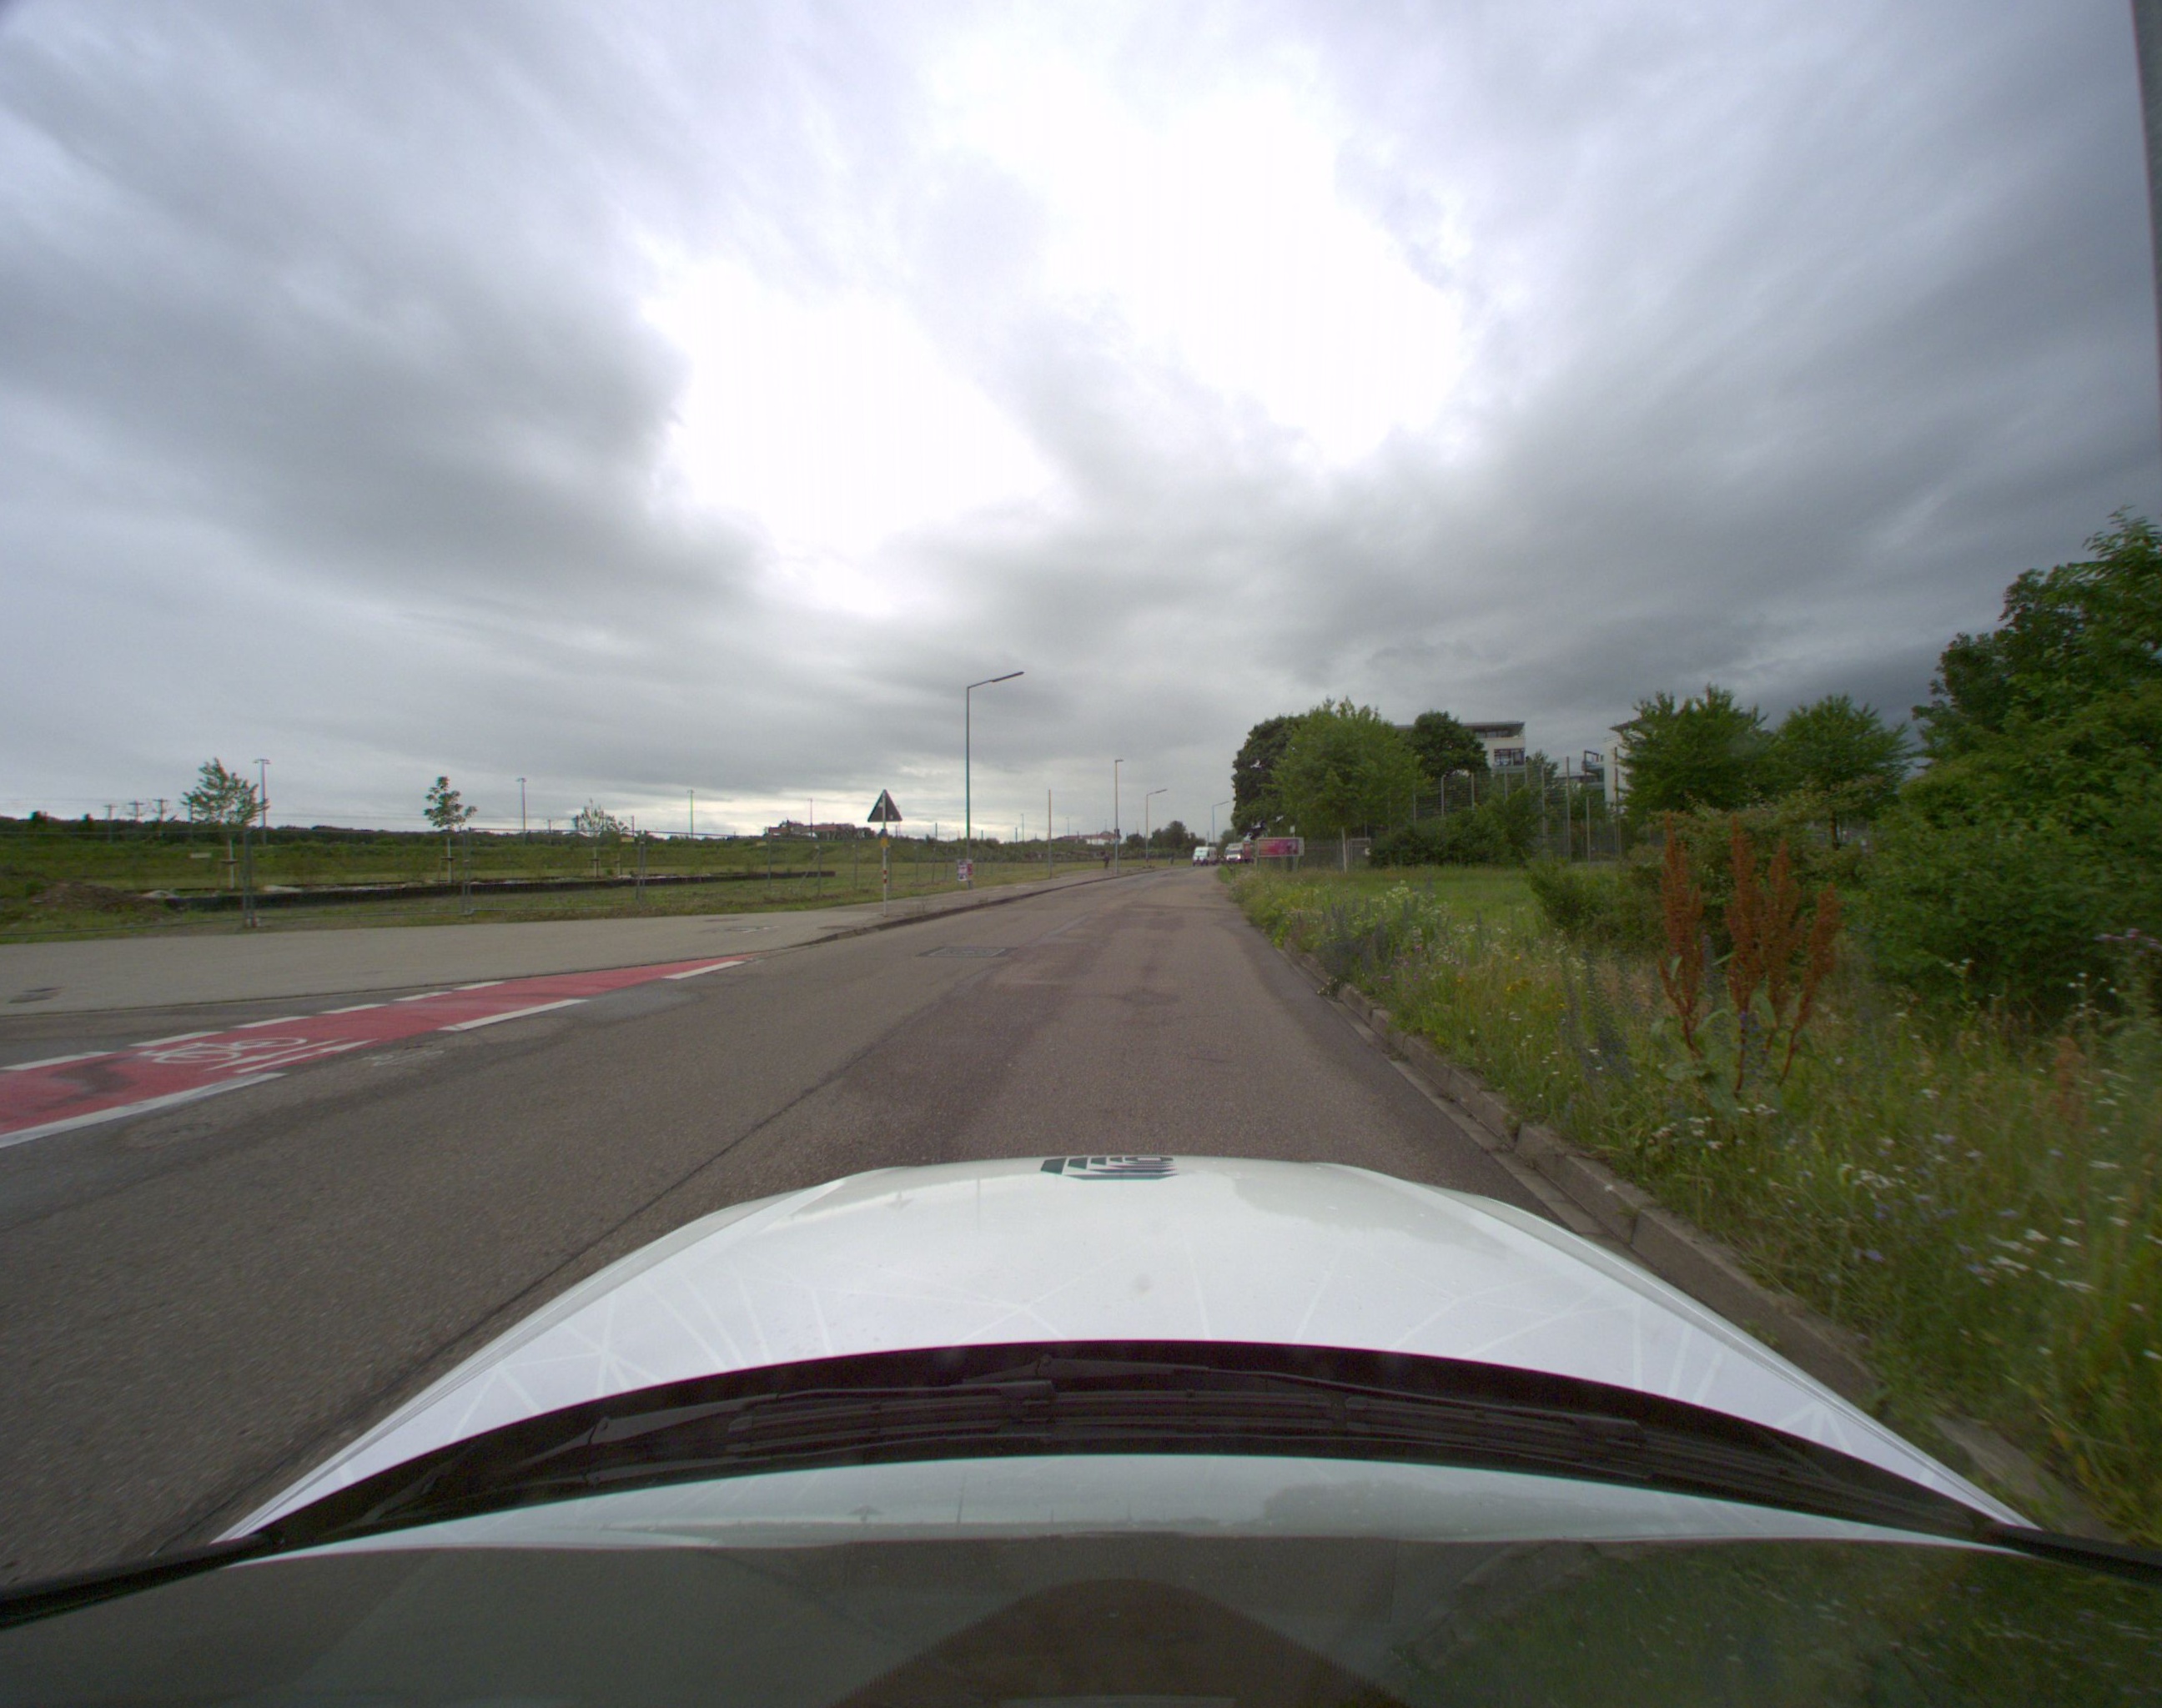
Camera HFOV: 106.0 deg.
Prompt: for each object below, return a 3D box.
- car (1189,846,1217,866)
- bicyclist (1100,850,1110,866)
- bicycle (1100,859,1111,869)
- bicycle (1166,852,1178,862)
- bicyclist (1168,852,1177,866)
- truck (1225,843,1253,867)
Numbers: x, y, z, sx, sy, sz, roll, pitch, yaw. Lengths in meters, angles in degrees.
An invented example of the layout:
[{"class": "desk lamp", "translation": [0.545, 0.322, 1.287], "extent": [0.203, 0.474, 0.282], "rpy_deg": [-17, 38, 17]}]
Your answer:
[{"class": "car", "translation": [16.352, 0.276, 108.893], "extent": [2.269, 2.555, 6.445], "rpy_deg": [-1, 0, 22]}, {"class": "bicyclist", "translation": [2.377, 0.387, 79.881], "extent": [0.777, 1.526, 1.097], "rpy_deg": [-1, 0, 9]}, {"class": "bicycle", "translation": [2.389, 0.949, 79.871], "extent": [0.798, 0.907, 2.238], "rpy_deg": [-1, 0, 9]}, {"class": "bicycle", "translation": [11.762, 0.397, 105.207], "extent": [0.811, 1.204, 2.571], "rpy_deg": [-1, 0, 24]}, {"class": "bicyclist", "translation": [11.801, 0.634, 105.245], "extent": [0.820, 1.821, 1.338], "rpy_deg": [-1, 0, 24]}, {"class": "truck", "translation": [22.096, 0.081, 113.571], "extent": [2.320, 3.062, 7.536], "rpy_deg": [-4, -1, 21]}]
